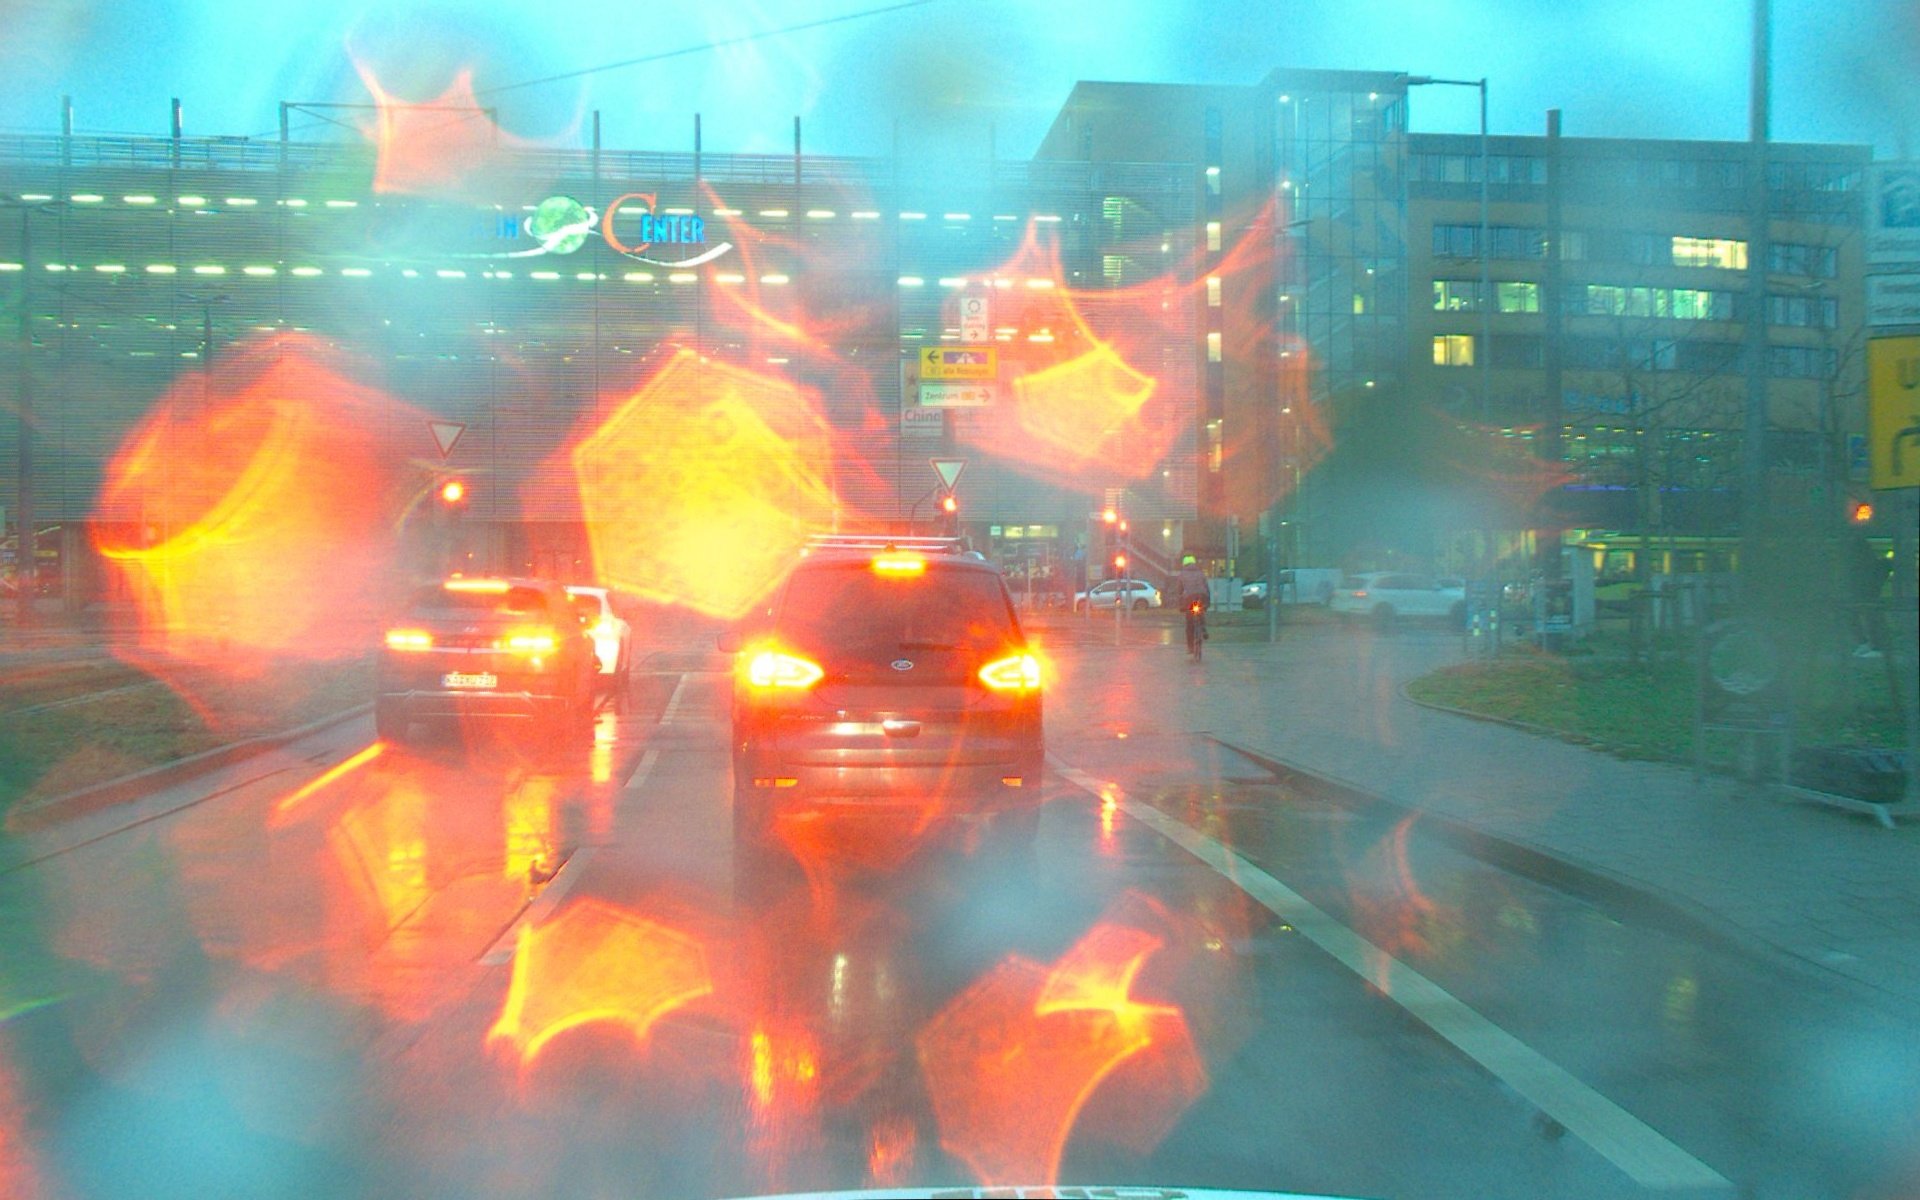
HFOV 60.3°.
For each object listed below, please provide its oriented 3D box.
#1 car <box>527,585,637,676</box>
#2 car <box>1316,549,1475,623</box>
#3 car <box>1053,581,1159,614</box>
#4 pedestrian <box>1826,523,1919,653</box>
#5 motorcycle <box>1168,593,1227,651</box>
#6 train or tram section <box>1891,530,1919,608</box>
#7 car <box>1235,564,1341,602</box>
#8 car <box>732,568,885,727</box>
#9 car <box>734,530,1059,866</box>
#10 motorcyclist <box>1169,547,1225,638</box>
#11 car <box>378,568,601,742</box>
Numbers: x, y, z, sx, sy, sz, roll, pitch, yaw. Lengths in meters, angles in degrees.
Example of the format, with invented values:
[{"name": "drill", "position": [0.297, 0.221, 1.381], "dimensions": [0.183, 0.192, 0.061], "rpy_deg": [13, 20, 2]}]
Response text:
[{"name": "car", "position": [-5.757, 0.422, 25.375], "dimensions": [1.513, 1.273, 4.056], "rpy_deg": [0, 0, -12]}, {"name": "car", "position": [13.151, -0.417, 49.990], "dimensions": [4.292, 2.049, 1.988], "rpy_deg": [2, 1, -21]}, {"name": "car", "position": [6.460, -0.119, 73.189], "dimensions": [4.341, 1.414, 1.795], "rpy_deg": [-1, 0, -12]}, {"name": "pedestrian", "position": [14.334, -0.190, 25.948], "dimensions": [1.146, 1.957, 0.899], "rpy_deg": [2, 0, 19]}, {"name": "motorcycle", "position": [4.177, 0.377, 29.141], "dimensions": [0.835, 0.989, 1.582], "rpy_deg": [0, 0, 1]}, {"name": "train or tram section", "position": [47.024, -1.399, 73.261], "dimensions": [12.765, 3.317, 2.323], "rpy_deg": [-1, 0, -20]}, {"name": "car", "position": [14.748, -0.763, 74.434], "dimensions": [4.344, 1.623, 1.793], "rpy_deg": [-1, 0, -14]}, {"name": "car", "position": [-1.900, 0.517, 19.894], "dimensions": [1.606, 1.726, 3.663], "rpy_deg": [1, 0, -9]}, {"name": "car", "position": [-0.572, 0.515, 11.021], "dimensions": [1.702, 1.768, 4.241], "rpy_deg": [2, 0, -7]}, {"name": "motorcyclist", "position": [4.163, -0.135, 29.107], "dimensions": [0.850, 1.561, 1.108], "rpy_deg": [0, 0, 1]}, {"name": "car", "position": [-4.805, 0.493, 17.383], "dimensions": [1.720, 1.601, 3.992], "rpy_deg": [0, 0, -8]}]
